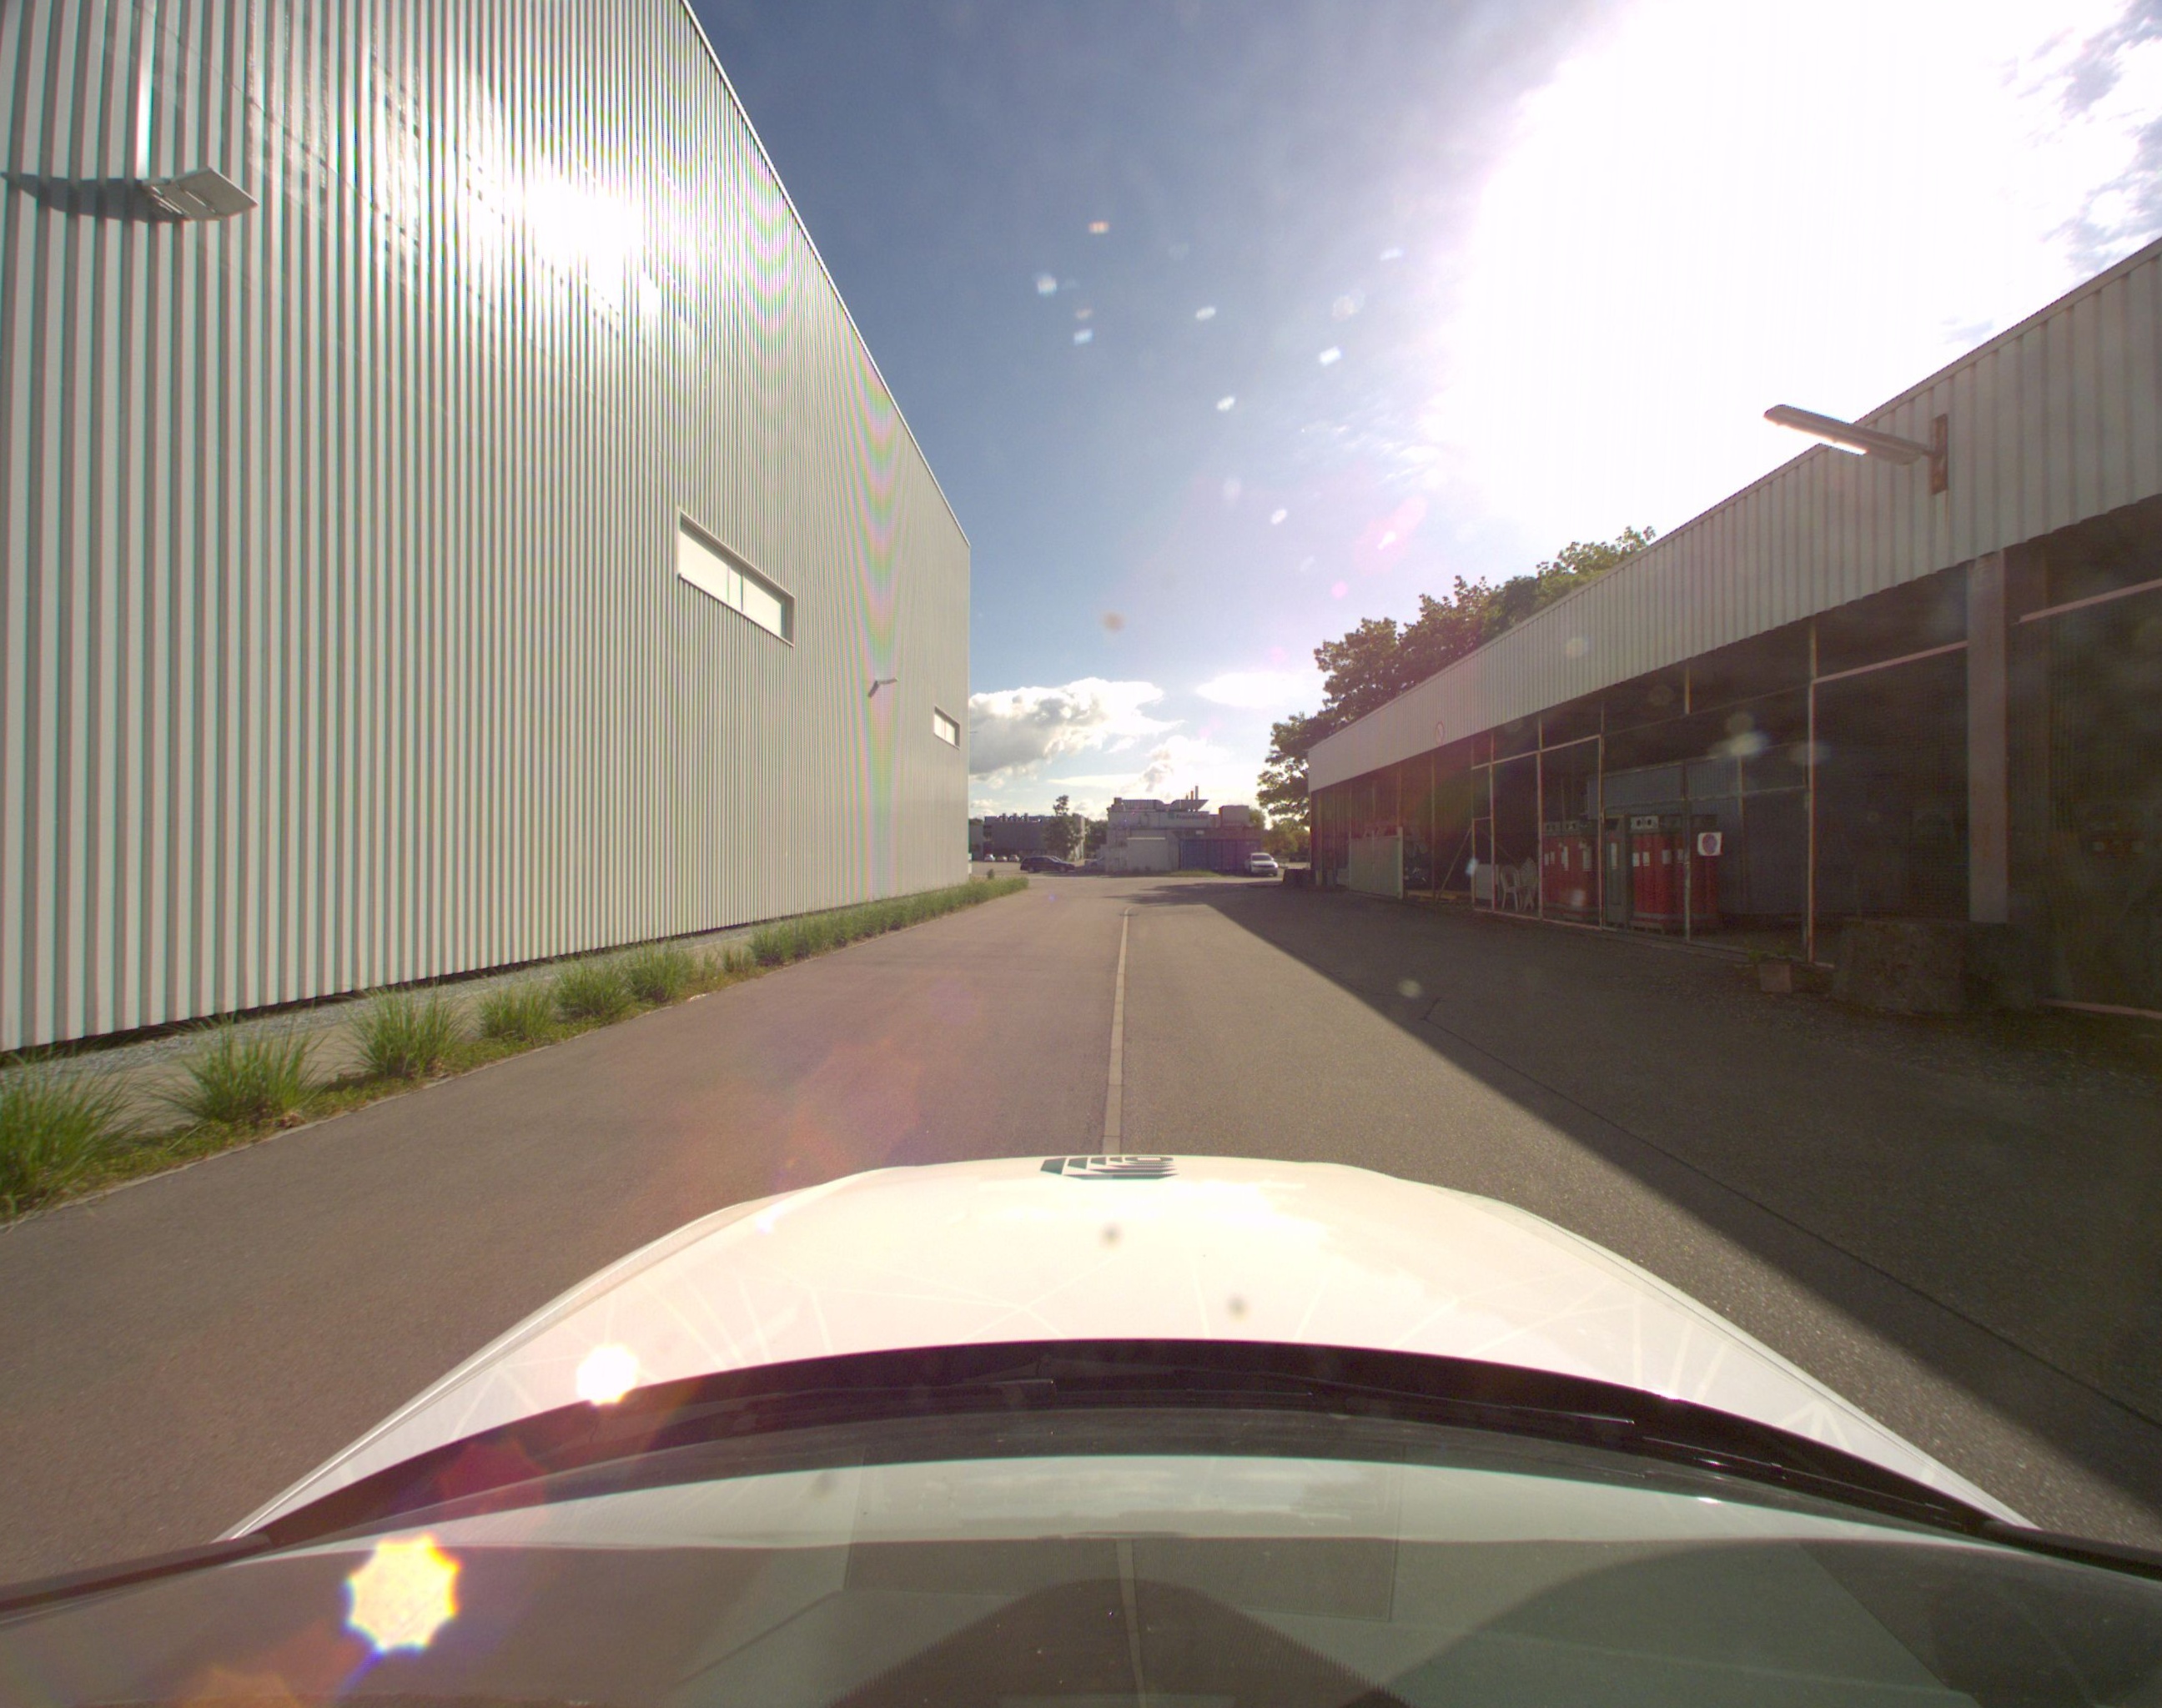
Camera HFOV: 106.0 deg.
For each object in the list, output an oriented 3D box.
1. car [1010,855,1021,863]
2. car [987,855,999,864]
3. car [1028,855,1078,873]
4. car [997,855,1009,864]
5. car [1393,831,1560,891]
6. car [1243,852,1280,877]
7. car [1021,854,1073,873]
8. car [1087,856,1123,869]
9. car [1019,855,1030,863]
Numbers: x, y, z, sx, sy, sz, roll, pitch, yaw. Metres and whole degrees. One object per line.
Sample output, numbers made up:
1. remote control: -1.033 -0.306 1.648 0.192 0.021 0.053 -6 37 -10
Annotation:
1. car: -13.629 1.020 169.470 1.958 1.712 4.031 -2 -1 2
2. car: -18.324 1.126 169.665 1.791 1.712 4.049 -2 -1 2
3. car: -2.599 0.901 75.182 4.429 1.531 1.825 -1 -1 2
4. car: -16.234 1.107 169.171 1.969 1.678 4.001 -2 -1 2
5. car: 13.384 0.242 27.716 4.761 1.916 1.996 0 -1 -5
6. car: 12.854 0.725 58.264 1.970 1.602 4.383 -2 1 5
7. car: -2.964 0.865 71.547 4.429 1.531 1.825 -1 -1 2
8. car: 2.962 1.054 99.202 4.285 1.457 1.825 -1 -1 2
9. car: -11.680 1.050 167.532 1.851 1.494 4.031 -2 -1 2
